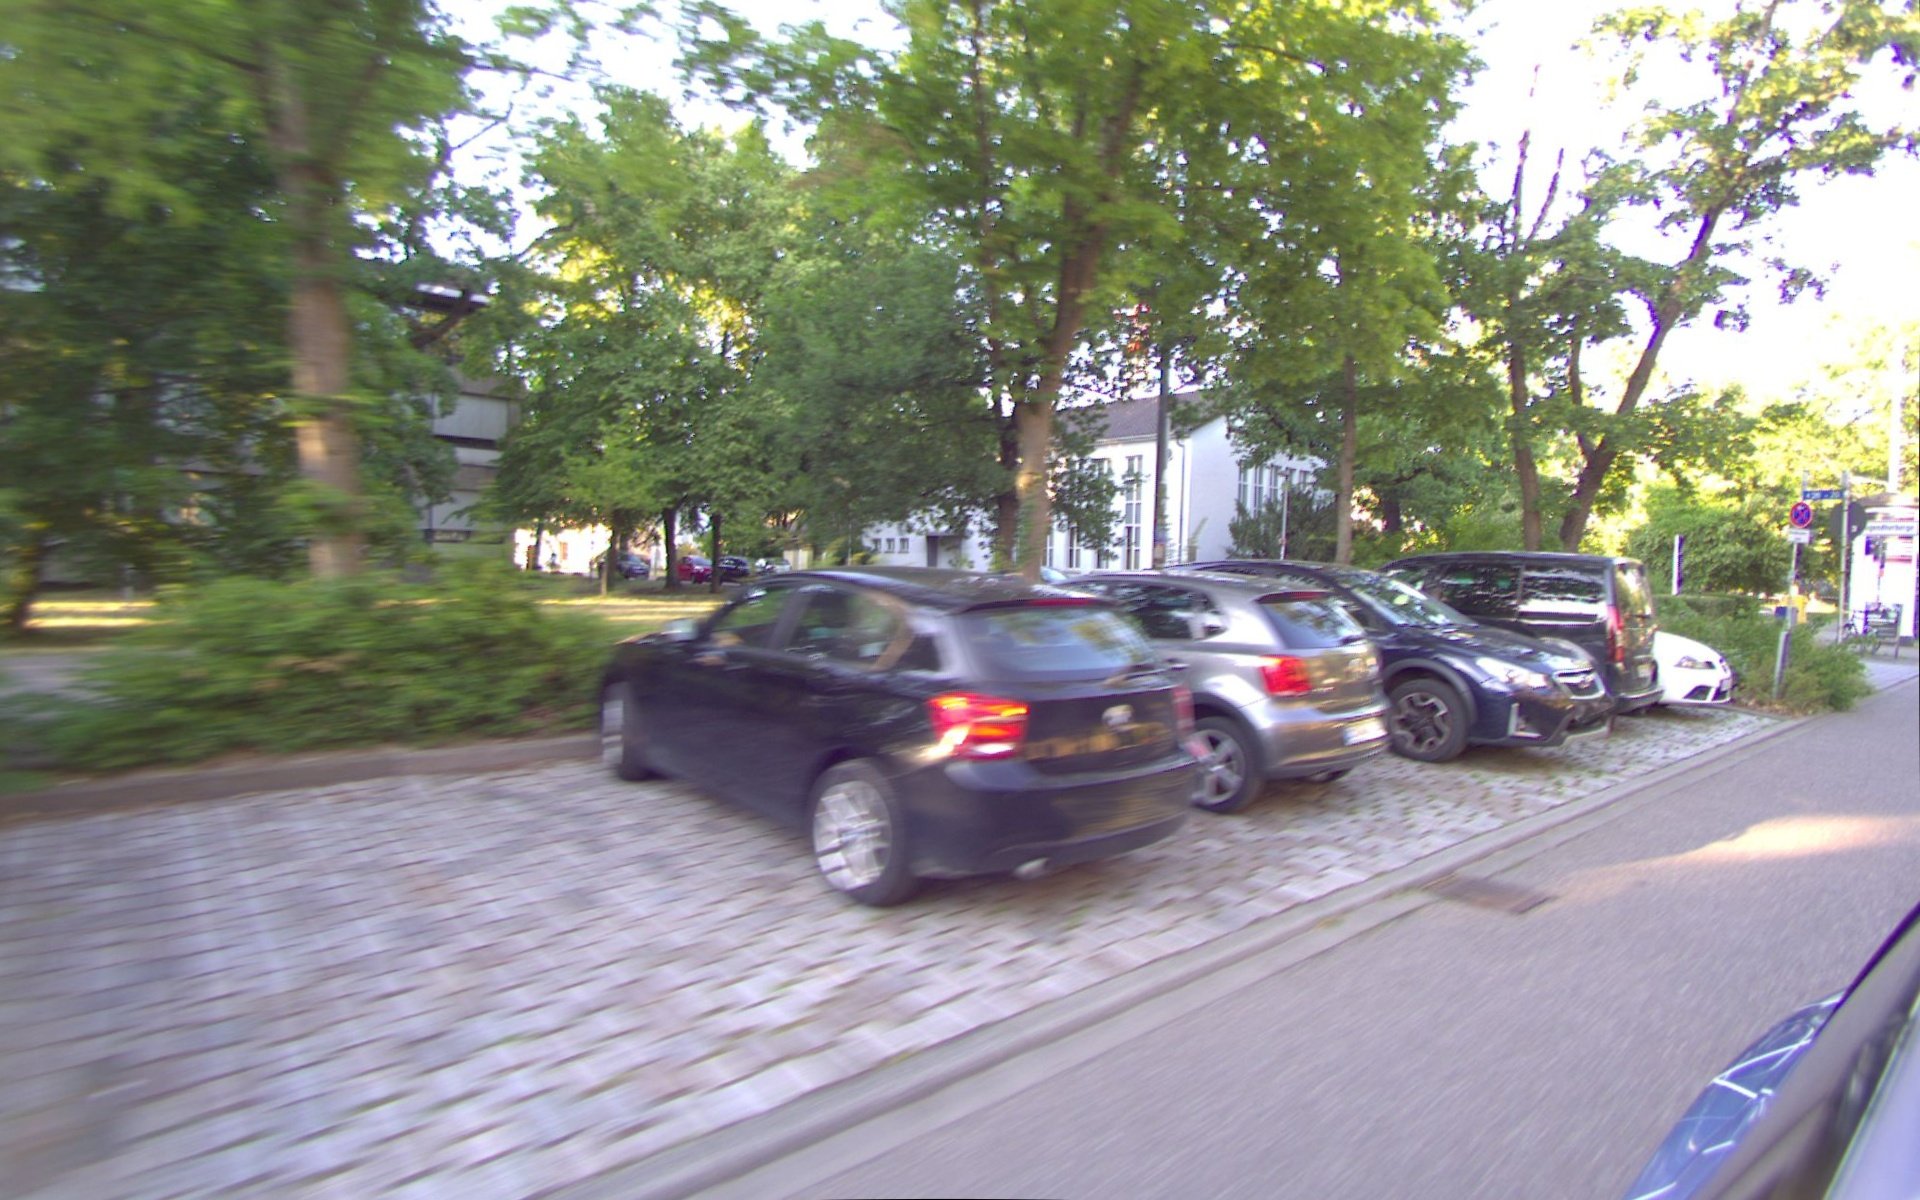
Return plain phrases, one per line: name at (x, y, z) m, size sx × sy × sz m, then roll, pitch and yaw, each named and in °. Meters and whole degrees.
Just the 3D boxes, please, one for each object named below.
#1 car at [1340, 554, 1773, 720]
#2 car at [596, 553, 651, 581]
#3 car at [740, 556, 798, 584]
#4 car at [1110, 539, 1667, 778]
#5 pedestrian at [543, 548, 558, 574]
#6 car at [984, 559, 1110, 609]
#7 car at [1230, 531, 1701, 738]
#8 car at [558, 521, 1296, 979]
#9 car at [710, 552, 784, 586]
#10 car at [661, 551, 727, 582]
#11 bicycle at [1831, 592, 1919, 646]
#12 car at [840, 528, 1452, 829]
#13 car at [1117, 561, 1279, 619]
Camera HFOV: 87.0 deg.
car at (7.341, 0.314, 12.861) m, size 1.697 × 1.572 × 4.373 m, roll 0°, pitch 4°, yaw -41°
car at (-19.714, -1.945, 59.218) m, size 1.706 × 1.495 × 3.995 m, roll 0°, pitch 2°, yaw -40°
car at (-11.827, -1.876, 62.569) m, size 1.965 × 1.627 × 3.766 m, roll 0°, pitch 2°, yaw -40°
car at (3.711, 0.318, 9.450) m, size 1.843 × 1.572 × 4.373 m, roll 0°, pitch 4°, yaw -41°
pedestrian at (-29.229, -2.782, 72.251) m, size 0.709 × 1.860 × 0.739 m, roll 0°, pitch 2°, yaw -43°
car at (2.755, -0.553, 32.649) m, size 1.706 × 1.495 × 3.995 m, roll 0°, pitch 2°, yaw -40°
car at (5.535, 0.202, 11.575) m, size 1.887 × 1.802 × 4.373 m, roll 0°, pitch 4°, yaw -41°
car at (-0.573, 0.402, 5.841) m, size 1.887 × 1.555 × 4.373 m, roll 0°, pitch 4°, yaw -41°
car at (-10.092, -1.478, 47.735) m, size 1.706 × 1.495 × 3.995 m, roll 0°, pitch 2°, yaw -40°
car at (-13.741, -1.736, 52.128) m, size 1.706 × 1.495 × 3.995 m, roll 0°, pitch 2°, yaw -40°
bicycle at (21.622, 0.463, 23.892) m, size 2.237 × 1.162 × 0.495 m, roll 2°, pitch 4°, yaw -21°
car at (1.115, 0.312, 7.797) m, size 1.887 × 1.555 × 4.373 m, roll 0°, pitch 4°, yaw -41°
car at (6.583, -0.333, 28.324) m, size 1.803 × 1.460 × 4.148 m, roll 0°, pitch 2°, yaw -40°
